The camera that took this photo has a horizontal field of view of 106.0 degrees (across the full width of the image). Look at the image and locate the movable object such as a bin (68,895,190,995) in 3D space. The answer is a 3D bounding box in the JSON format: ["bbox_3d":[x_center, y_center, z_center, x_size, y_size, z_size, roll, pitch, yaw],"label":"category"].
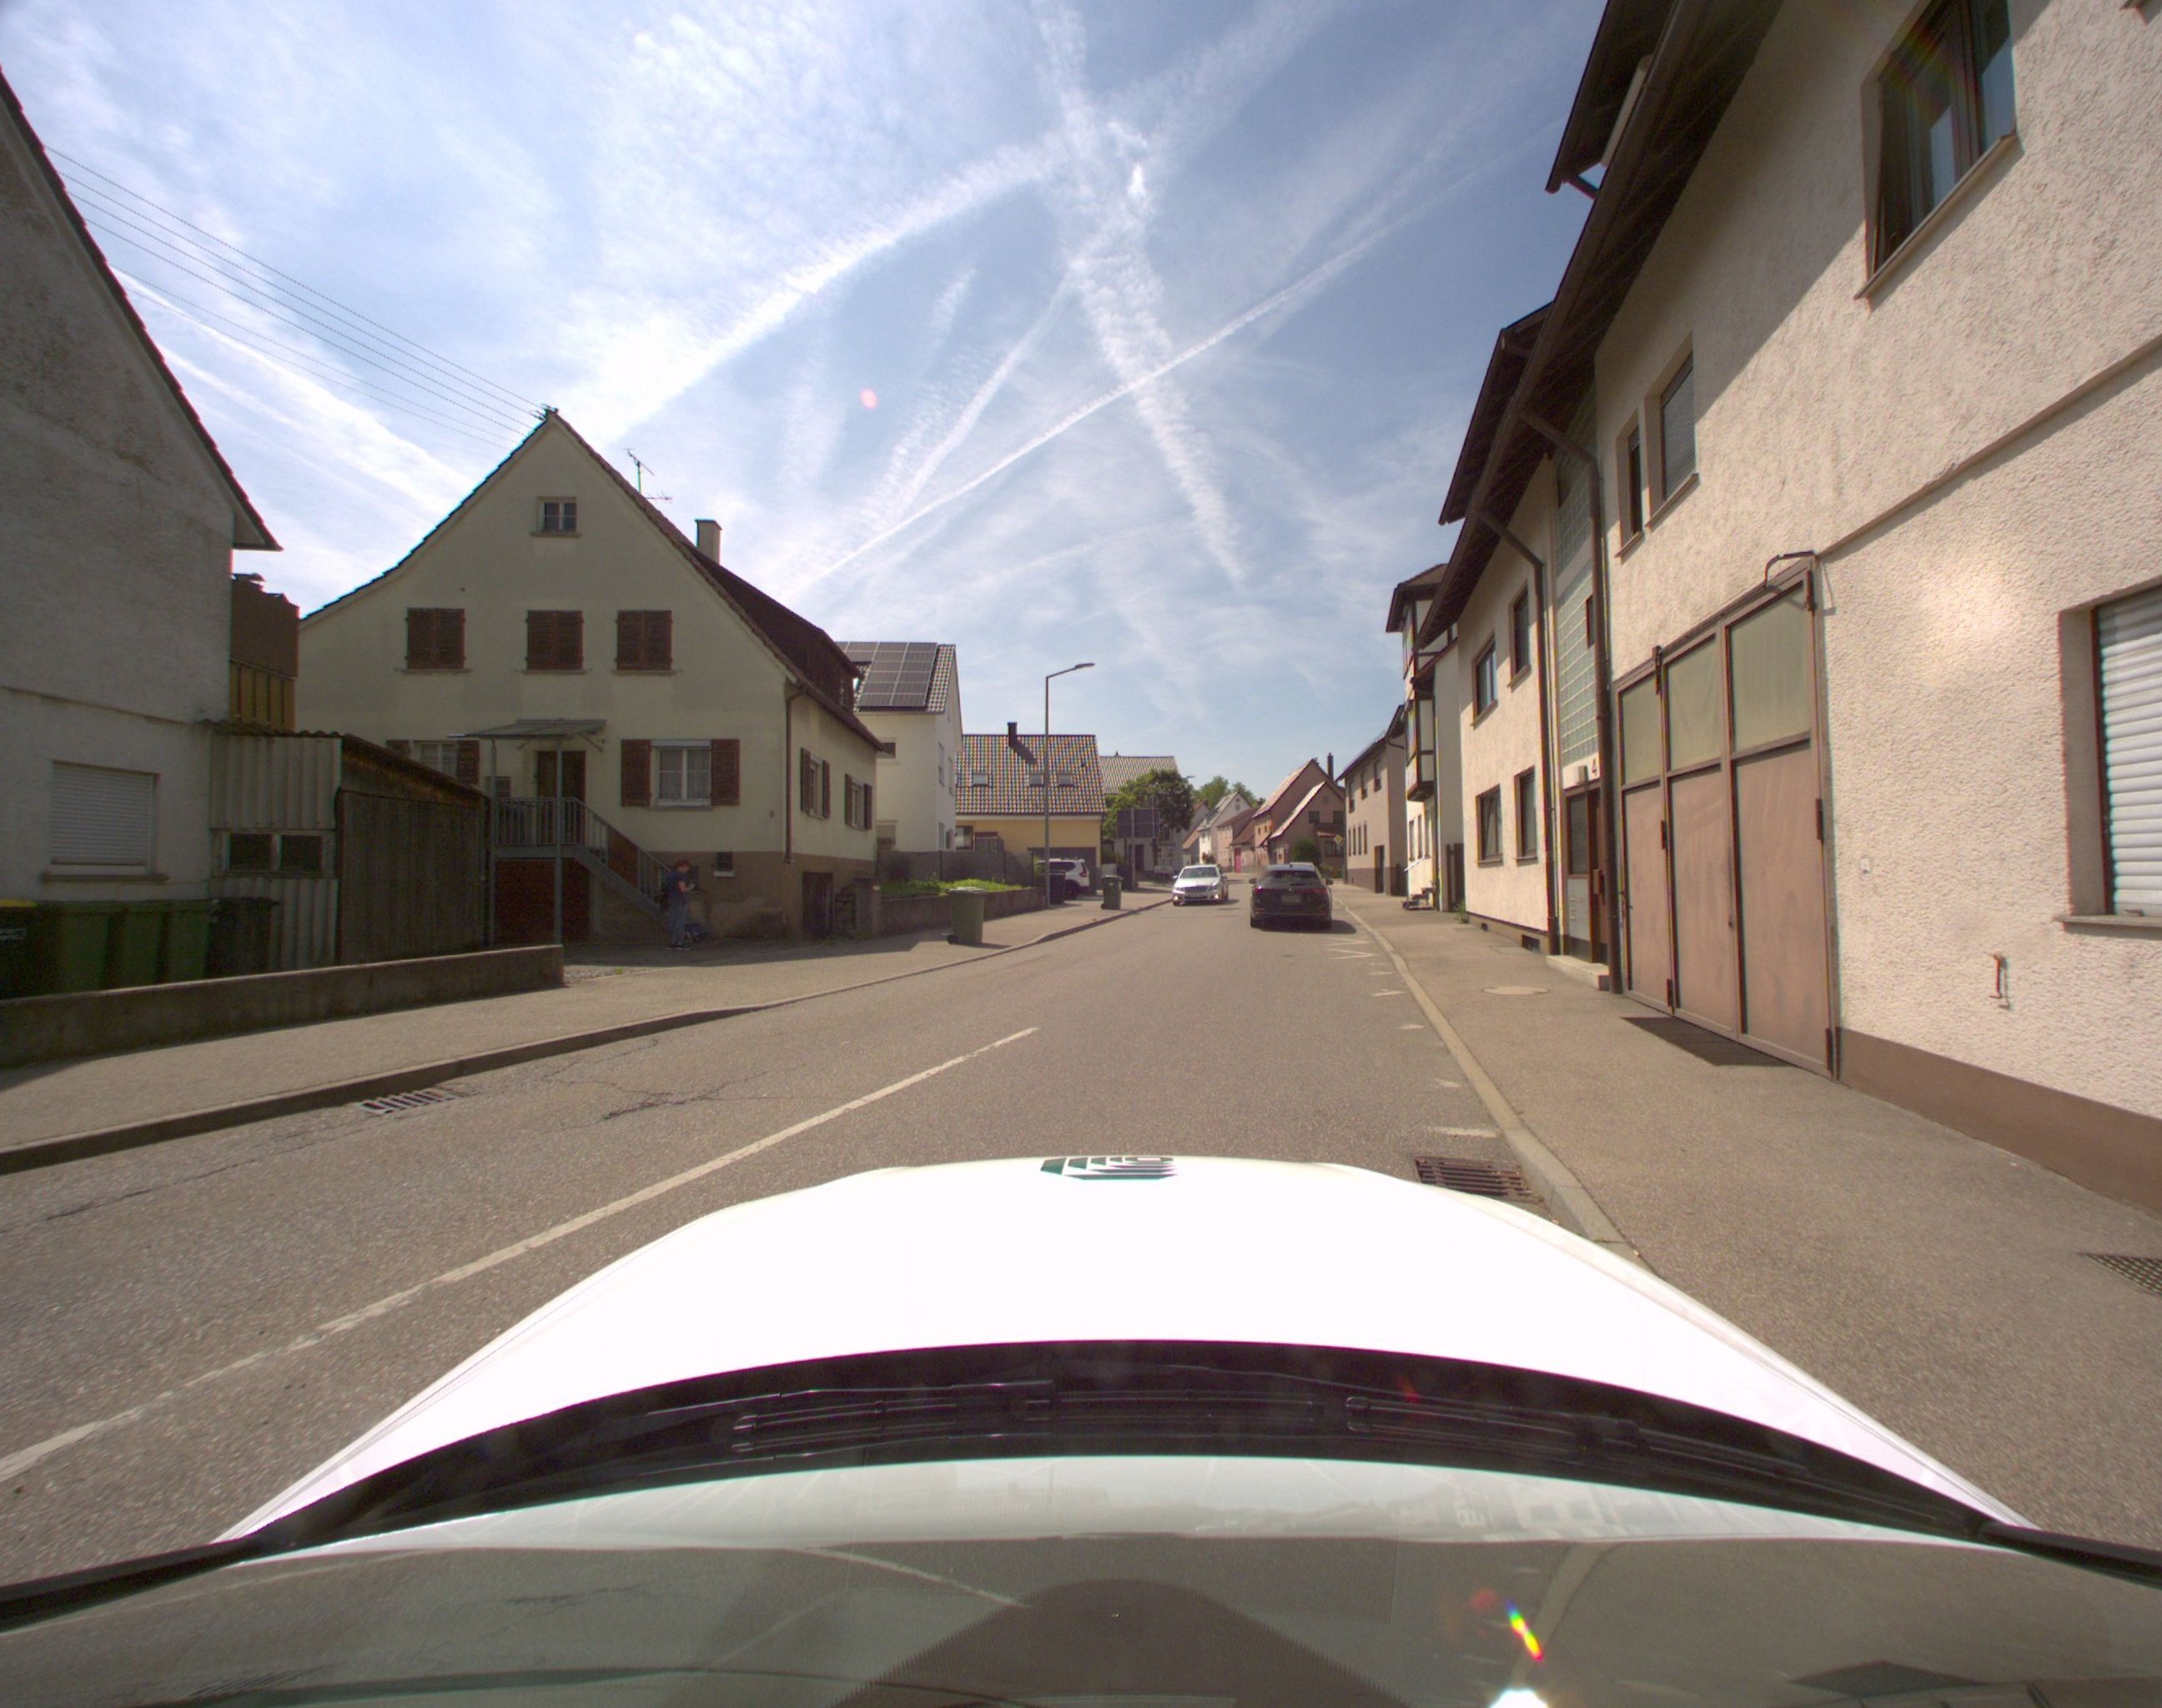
[{"bbox_3d":[-10.950,1.026,9.387,0.678,1.082,0.581,0,-1,-12],"label":"movable object such as a bin"}]

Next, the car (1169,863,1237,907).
[{"bbox_3d":[4.705,1.112,30.851,1.940,1.486,4.477,-3,-1,16],"label":"car"}]

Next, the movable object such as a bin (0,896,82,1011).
[{"bbox_3d":[-10.728,0.976,8.134,0.683,1.082,0.623,0,-1,-12],"label":"movable object such as a bin"}]

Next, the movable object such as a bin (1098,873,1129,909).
[{"bbox_3d":[1.044,1.169,25.987,0.819,1.077,0.821,0,0,15],"label":"movable object such as a bin"}]

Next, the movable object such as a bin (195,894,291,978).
[{"bbox_3d":[-10.937,1.056,10.649,0.629,1.034,0.610,0,-1,-12],"label":"movable object such as a bin"}]

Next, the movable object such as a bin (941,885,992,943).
[{"bbox_3d":[-2.176,1.127,15.527,0.786,1.057,0.653,-1,-1,11],"label":"movable object such as a bin"}]

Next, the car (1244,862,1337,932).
[{"bbox_3d":[5.110,0.918,19.430,1.826,1.420,4.704,0,0,19],"label":"car"}]

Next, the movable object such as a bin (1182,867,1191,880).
[{"bbox_3d":[9.278,1.710,71.659,0.751,1.060,0.680,0,0,2],"label":"movable object such as a bin"}]

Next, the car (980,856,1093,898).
[{"bbox_3d":[-1.737,0.926,33.075,4.384,1.623,2.001,0,-1,2],"label":"car"}]

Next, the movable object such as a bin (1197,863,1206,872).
[{"bbox_3d":[15.410,1.777,103.961,0.875,1.074,0.870,-5,0,-9],"label":"movable object such as a bin"}]

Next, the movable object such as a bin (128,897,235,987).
[{"bbox_3d":[-10.998,1.060,9.976,0.628,1.035,0.601,0,-1,-12],"label":"movable object such as a bin"}]

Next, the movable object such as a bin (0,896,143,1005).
[{"bbox_3d":[-10.870,1.012,8.766,0.739,1.082,0.657,0,-1,-12],"label":"movable object such as a bin"}]

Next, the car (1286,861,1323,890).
[{"bbox_3d":[11.814,1.107,43.217,1.773,1.442,4.353,0,0,14],"label":"car"}]

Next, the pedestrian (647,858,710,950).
[{"bbox_3d":[-7.103,0.865,14.404,0.773,1.574,0.629,0,-1,6],"label":"pedestrian"}]

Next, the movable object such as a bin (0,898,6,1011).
[{"bbox_3d":[-10.654,0.966,7.444,0.683,1.082,0.695,0,-1,-12],"label":"movable object such as a bin"}]

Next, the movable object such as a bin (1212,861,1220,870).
[{"bbox_3d":[17.067,1.423,102.969,0.678,1.050,0.833,-5,0,-9],"label":"movable object such as a bin"}]
